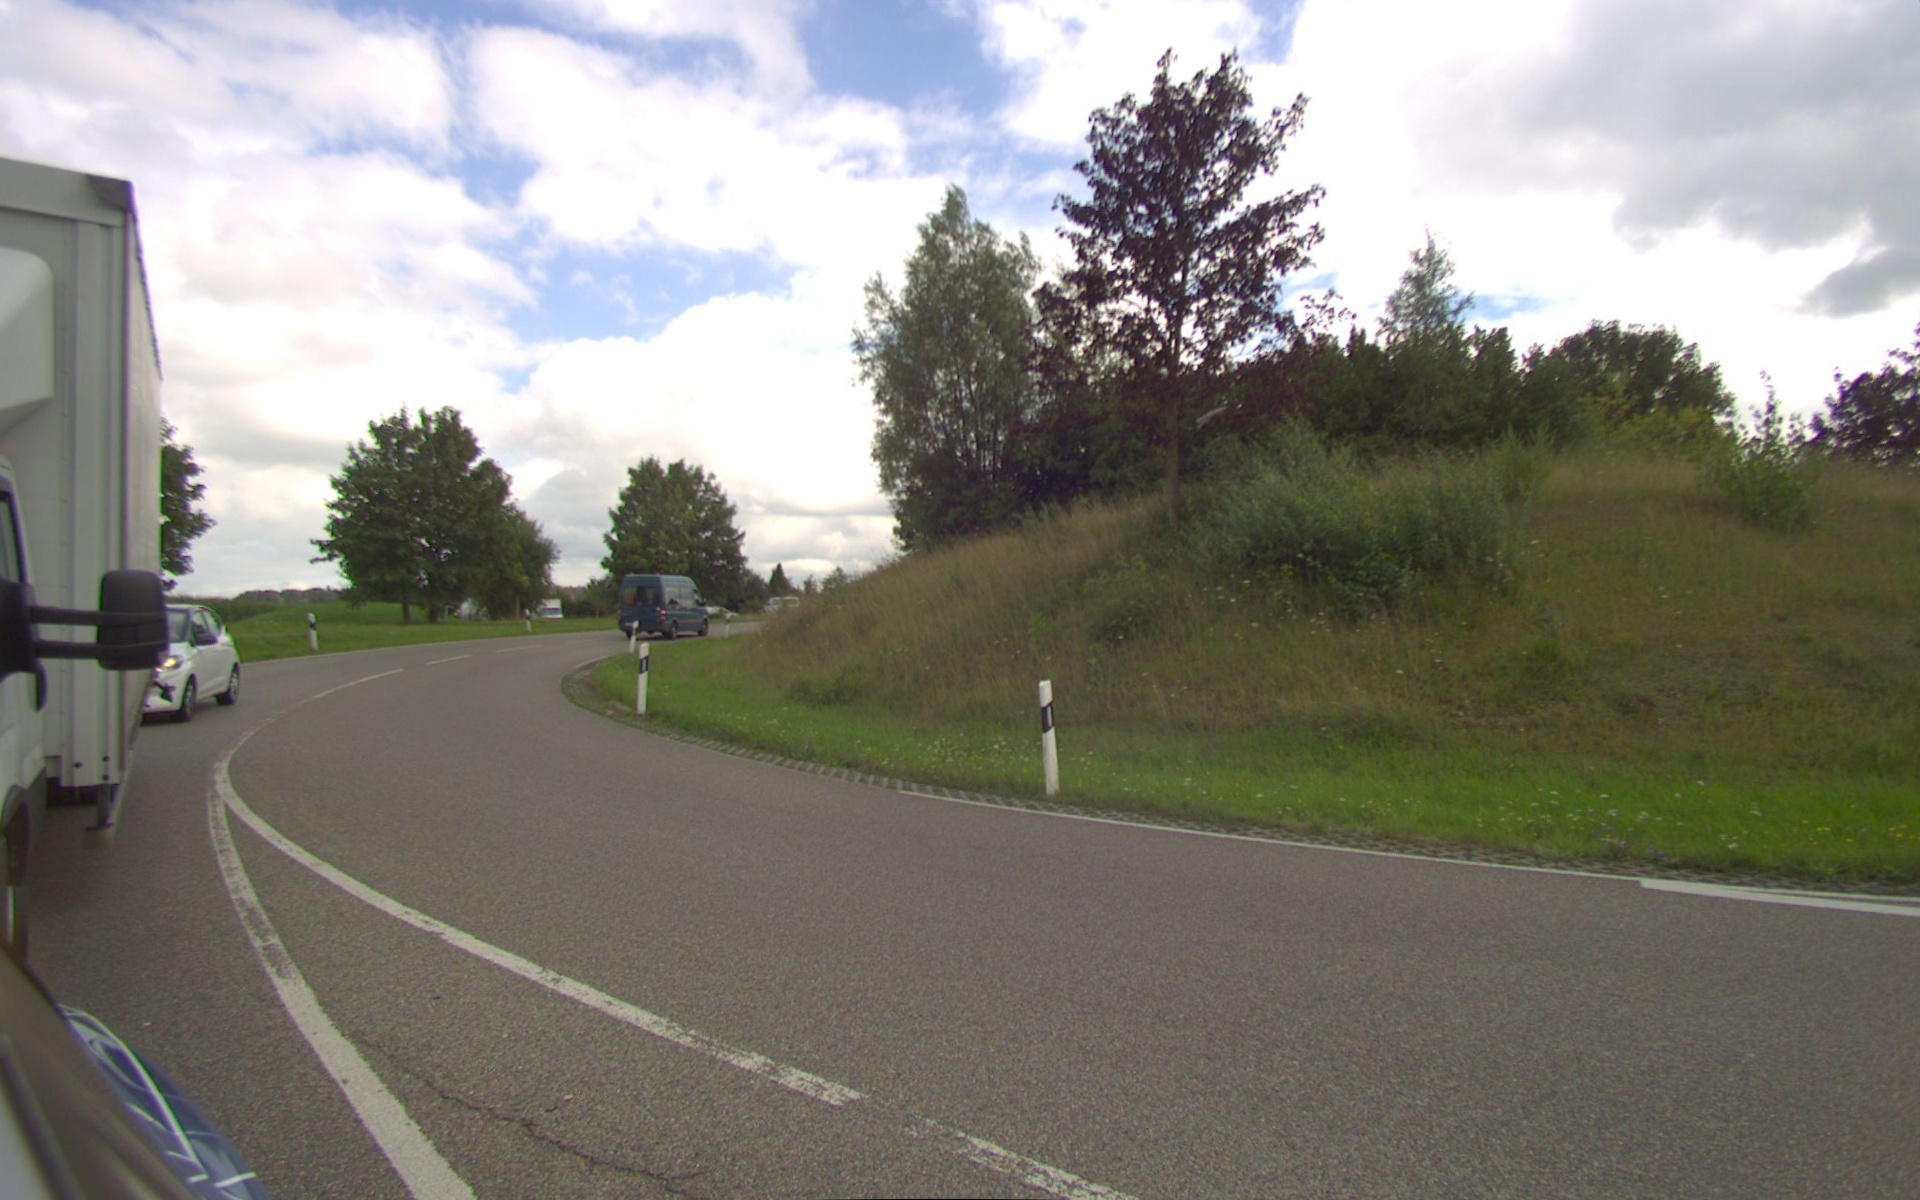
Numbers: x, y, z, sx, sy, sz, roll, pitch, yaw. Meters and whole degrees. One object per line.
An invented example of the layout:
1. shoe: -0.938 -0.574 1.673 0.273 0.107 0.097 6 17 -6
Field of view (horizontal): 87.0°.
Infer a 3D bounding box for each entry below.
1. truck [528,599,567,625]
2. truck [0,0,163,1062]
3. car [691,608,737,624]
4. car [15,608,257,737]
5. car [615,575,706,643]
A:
1. truck: -40.801 1.213 99.985 2.254 2.439 6.398 -1 -1 -34
2. truck: -6.291 -0.498 5.677 2.793 3.792 8.817 1 -2 -38
3. car: -25.601 1.670 105.371 4.328 1.597 2.007 -1 -1 -23
4. car: -11.187 0.896 14.059 1.721 1.477 4.013 -1 -1 -26
5. car: -12.381 0.423 42.258 1.974 2.650 5.116 1 -1 4
